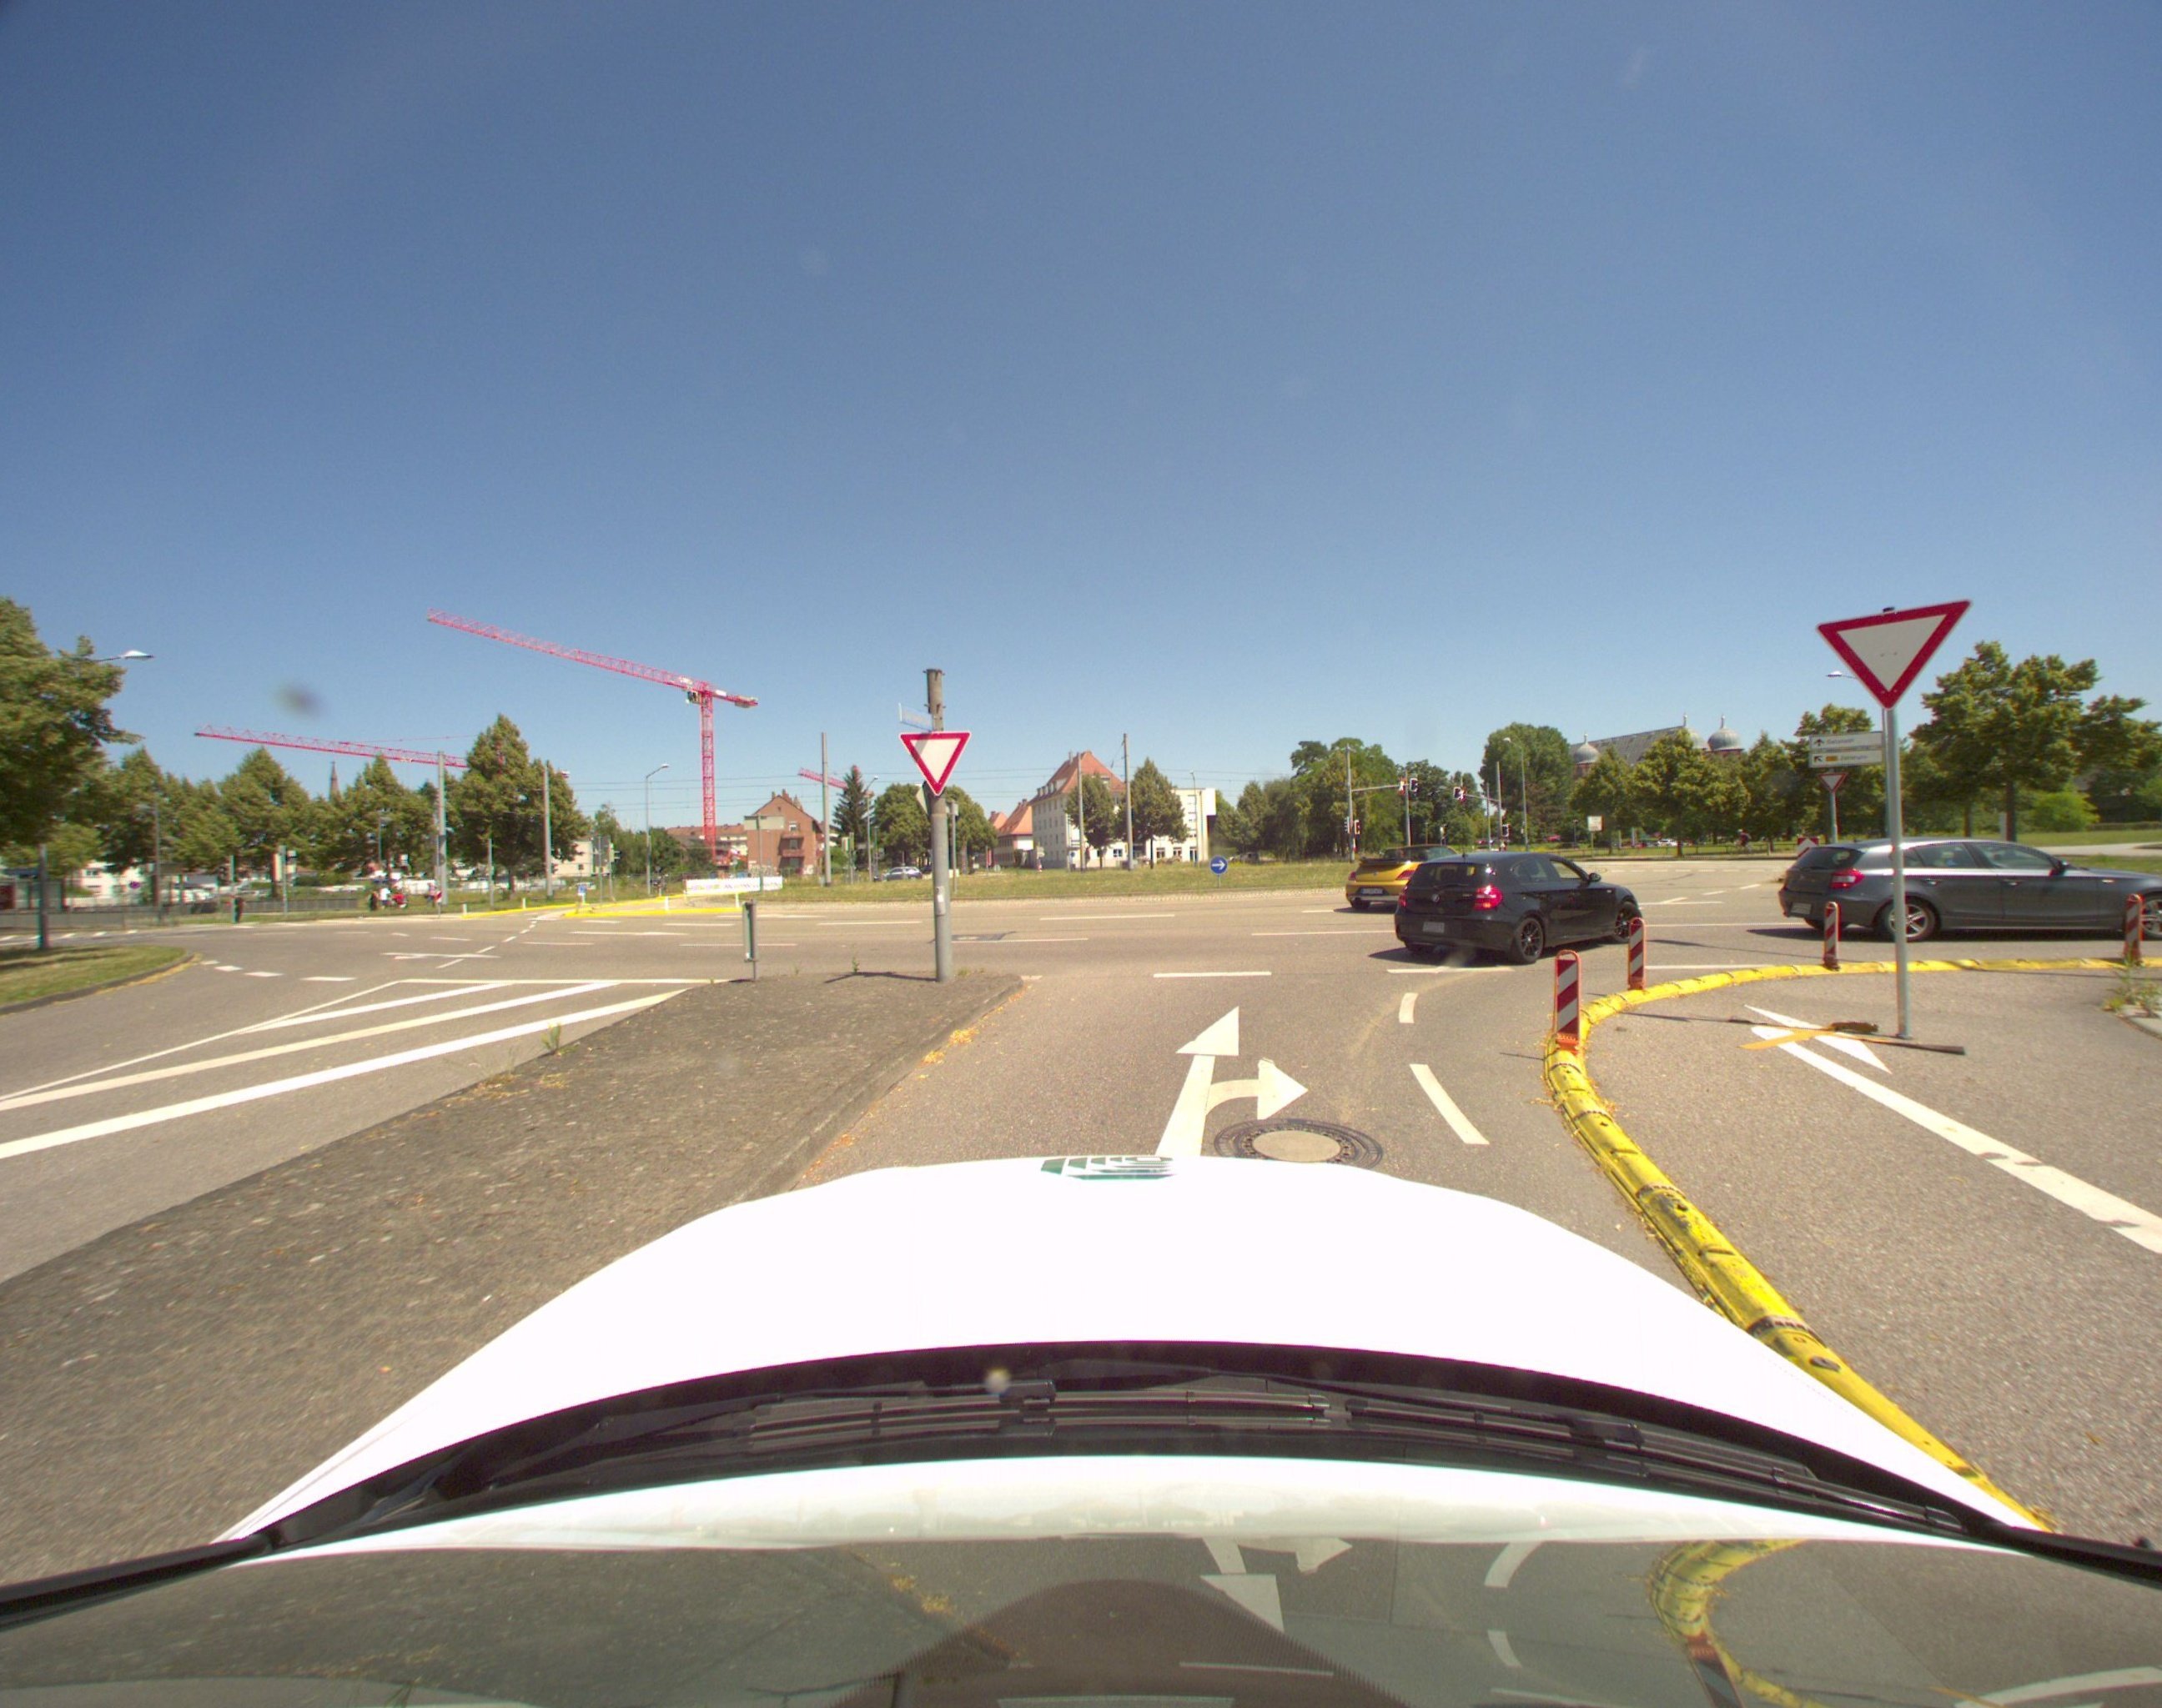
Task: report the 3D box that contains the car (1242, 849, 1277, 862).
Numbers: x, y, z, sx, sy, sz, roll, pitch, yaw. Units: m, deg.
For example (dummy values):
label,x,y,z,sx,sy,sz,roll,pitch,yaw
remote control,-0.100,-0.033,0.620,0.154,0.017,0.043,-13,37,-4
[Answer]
label,x,y,z,sx,sy,sz,roll,pitch,yaw
car,22.877,0.206,104.579,3.987,1.684,1.993,0,-1,-10

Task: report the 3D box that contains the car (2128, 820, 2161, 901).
label,x,y,z,sx,sy,sz,roll,pitch,yaw
car,20.961,0.042,13.599,3.956,1.422,1.790,-2,0,16

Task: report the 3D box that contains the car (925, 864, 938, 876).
label,x,y,z,sx,sy,sz,roll,pitch,yaw
car,-25.828,2.727,140.768,1.994,2.014,3.986,0,-1,-10

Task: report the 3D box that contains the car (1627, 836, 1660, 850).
label,x,y,z,sx,sy,sz,roll,pitch,yaw
car,86.920,-1.665,125.832,3.949,2.014,2.012,-1,-1,41

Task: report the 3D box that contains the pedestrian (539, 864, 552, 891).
label,x,y,z,sx,sy,sz,roll,pitch,yaw
pedestrian,-41.062,1.783,62.413,0.599,2.014,0.595,-1,-1,2

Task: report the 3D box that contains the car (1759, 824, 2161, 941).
label,x,y,z,sx,sy,sz,roll,pitch,yaw
car,12.407,0.378,11.463,4.040,1.403,1.759,-2,0,12

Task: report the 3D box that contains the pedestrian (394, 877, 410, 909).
label,x,y,z,sx,sy,sz,roll,pitch,yaw
pedestrian,-42.031,2.421,50.407,0.631,1.934,0.640,-2,0,-32

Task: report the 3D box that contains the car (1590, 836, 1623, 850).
label,x,y,z,sx,sy,sz,roll,pitch,yaw
car,79.161,-1.620,122.709,3.949,2.014,2.012,-1,-1,41

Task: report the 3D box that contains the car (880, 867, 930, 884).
label,x,y,z,sx,sy,sz,roll,pitch,yaw
car,-15.239,1.844,70.455,4.000,1.464,1.987,0,-1,-20

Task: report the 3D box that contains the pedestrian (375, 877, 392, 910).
label,x,y,z,sx,sy,sz,roll,pitch,yaw
pedestrian,-42.489,2.386,49.595,0.631,1.934,0.640,-2,0,-32

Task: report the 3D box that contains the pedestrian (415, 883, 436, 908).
label,x,y,z,sx,sy,sz,roll,pitch,yaw
pedestrian,-44.305,2.806,55.048,0.773,1.640,0.764,-1,-1,15

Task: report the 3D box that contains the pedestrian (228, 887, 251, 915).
label,x,y,z,sx,sy,sz,roll,pitch,yaw
pedestrian,-44.516,2.485,43.071,0.539,1.406,0.598,-2,0,6

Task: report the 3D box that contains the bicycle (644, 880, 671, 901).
label,x,y,z,sx,sy,sz,roll,pitch,yaw
bicycle,-36.021,3.087,69.271,0.553,1.685,2.098,-1,-1,28

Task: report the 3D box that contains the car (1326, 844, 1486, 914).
label,x,y,z,sx,sy,sz,roll,pitch,yaw
car,7.444,0.512,18.526,3.680,1.403,1.810,-1,0,-39

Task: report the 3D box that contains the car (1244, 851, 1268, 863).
label,x,y,z,sx,sy,sz,roll,pitch,yaw
car,30.584,0.572,142.265,3.955,2.014,2.009,-1,-1,17

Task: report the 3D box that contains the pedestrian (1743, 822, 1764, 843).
label,x,y,z,sx,sy,sz,roll,pitch,yaw
pedestrian,47.044,-1.480,56.984,0.707,1.451,0.816,0,-1,-8

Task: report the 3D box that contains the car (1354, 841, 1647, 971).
label,x,y,z,sx,sy,sz,roll,pitch,yaw
car,5.933,0.603,11.423,4.013,1.440,1.785,-2,1,-31

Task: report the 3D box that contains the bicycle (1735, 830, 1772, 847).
label,x,y,z,sx,sy,sz,roll,pitch,yaw
bicycle,47.084,-1.099,57.013,0.727,1.115,2.053,0,-1,-8

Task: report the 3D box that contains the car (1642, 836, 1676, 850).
label,x,y,z,sx,sy,sz,roll,pitch,yaw
car,91.184,-1.678,128.435,2.011,2.014,3.952,0,-1,-41

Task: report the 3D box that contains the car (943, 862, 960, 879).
label,x,y,z,sx,sy,sz,roll,pitch,yaw
car,-15.973,2.073,100.469,1.994,2.014,3.986,0,-1,-10
